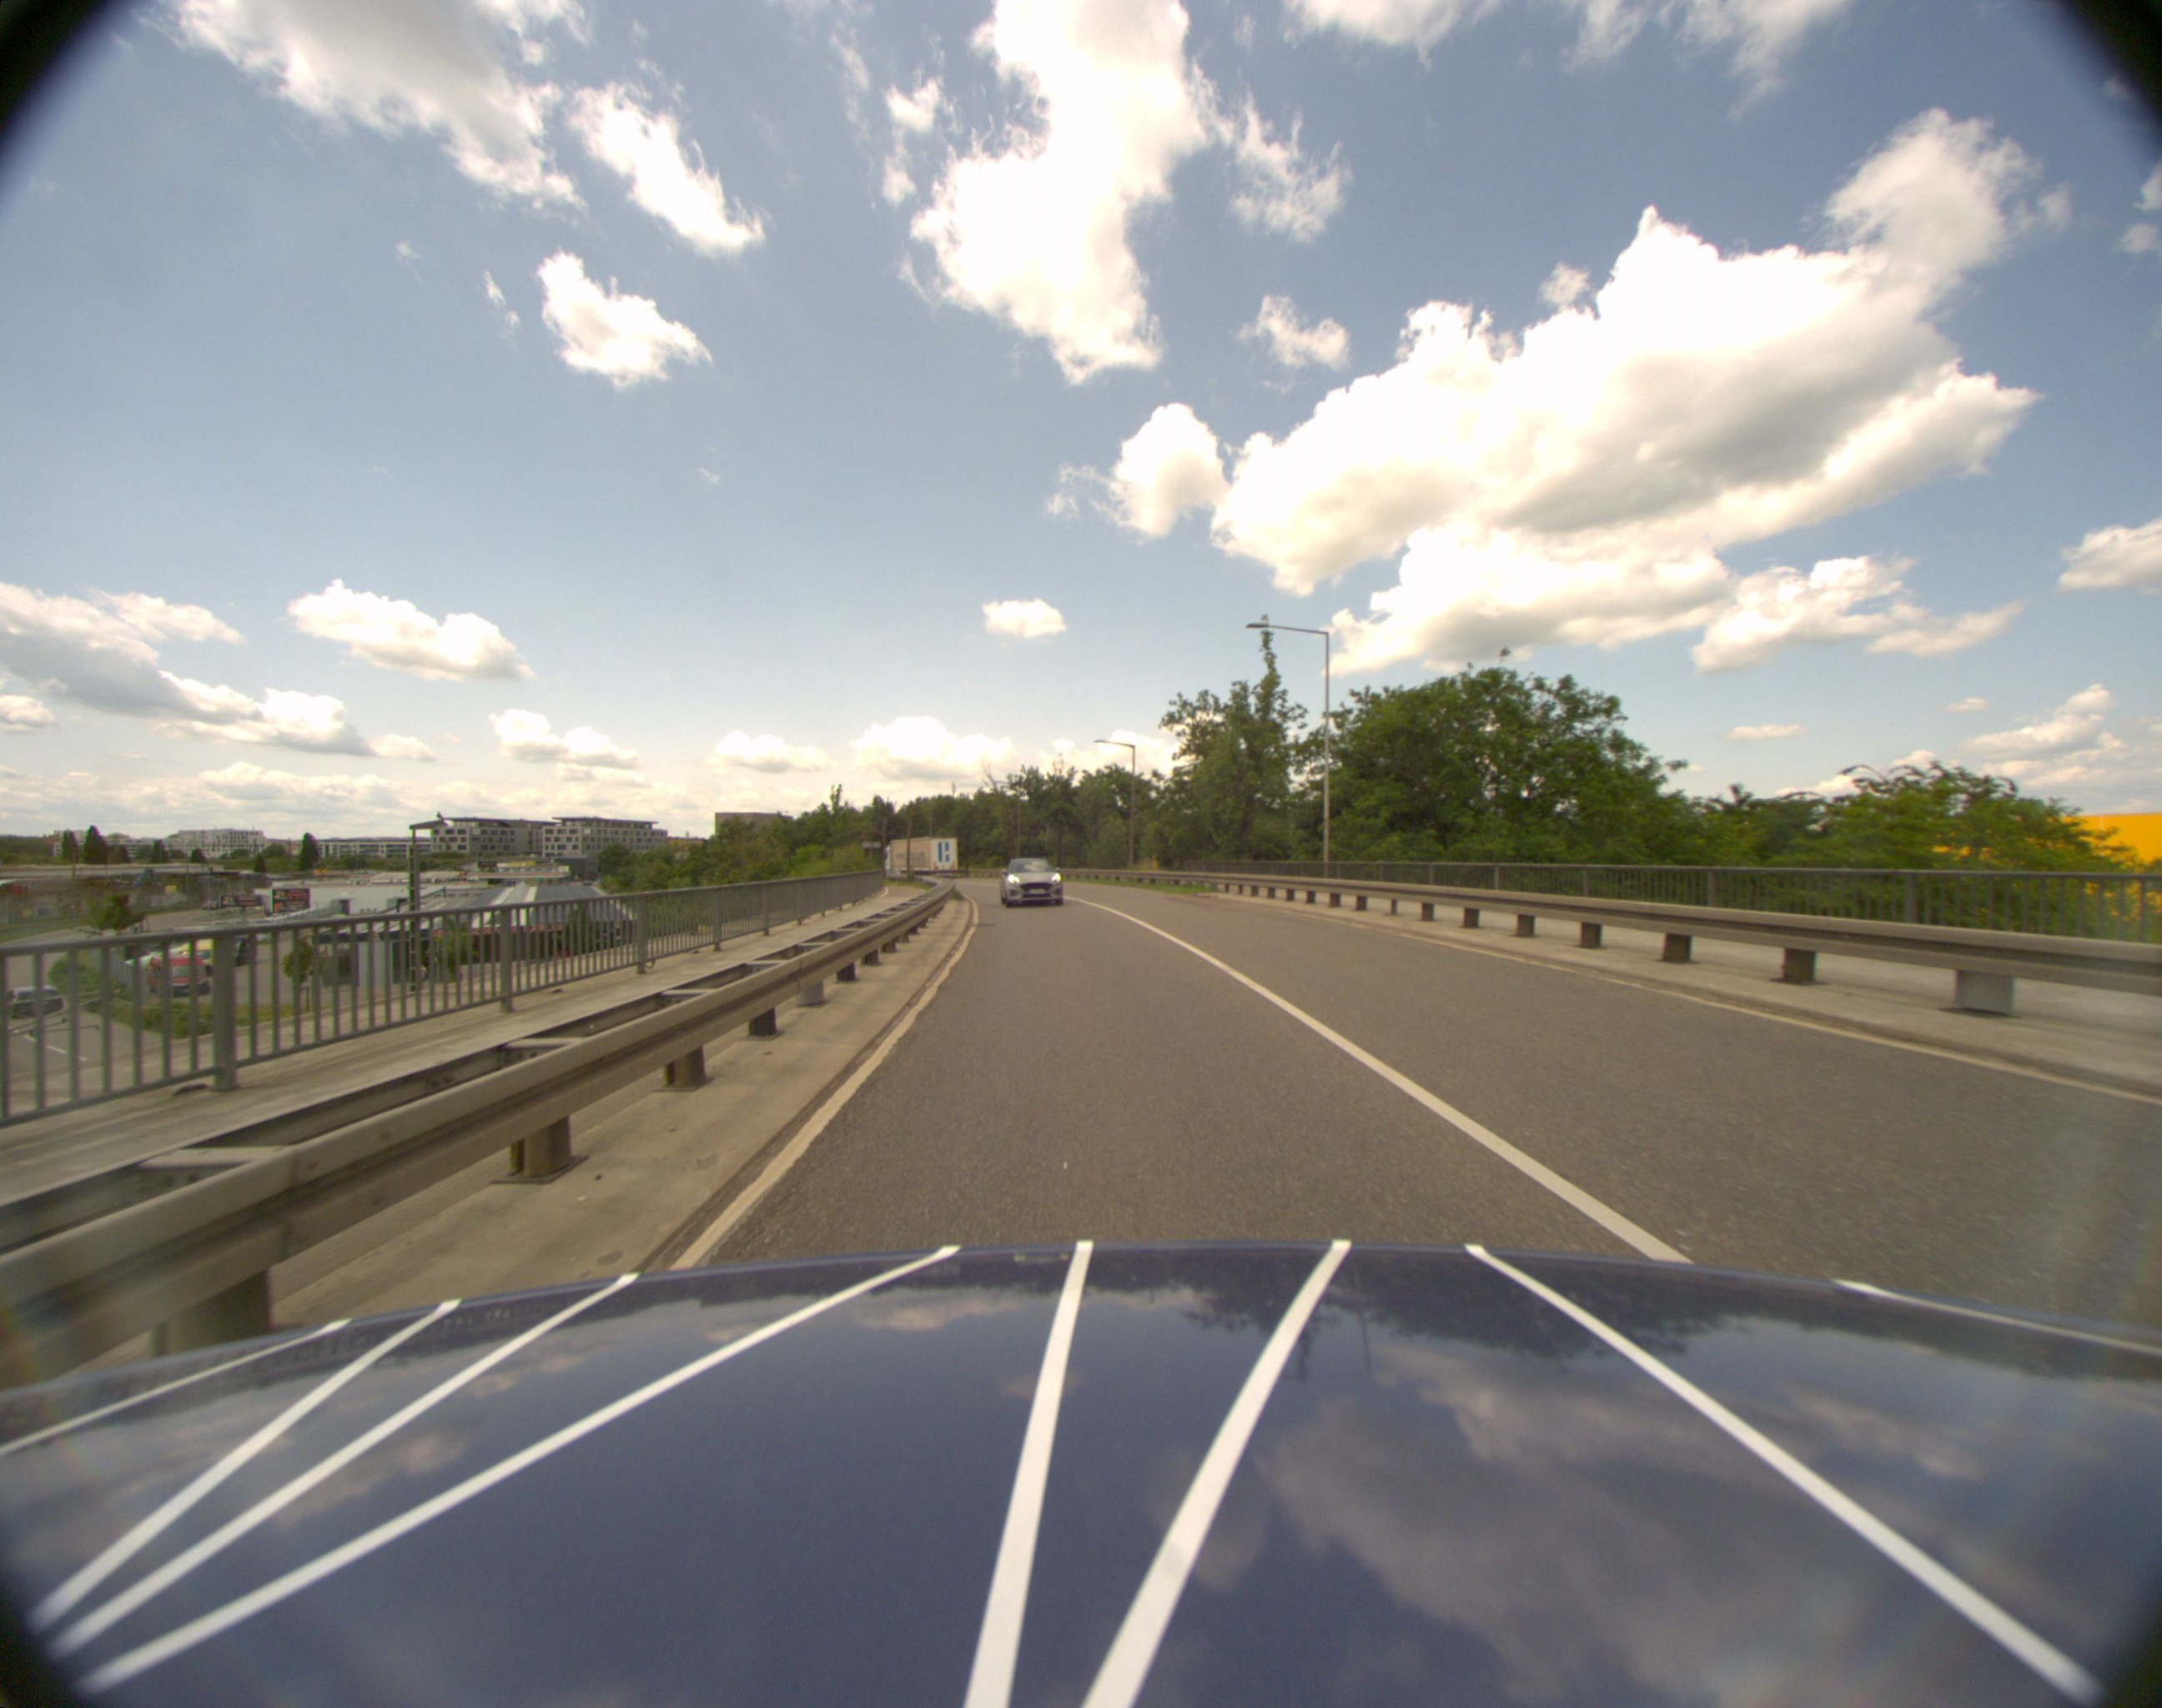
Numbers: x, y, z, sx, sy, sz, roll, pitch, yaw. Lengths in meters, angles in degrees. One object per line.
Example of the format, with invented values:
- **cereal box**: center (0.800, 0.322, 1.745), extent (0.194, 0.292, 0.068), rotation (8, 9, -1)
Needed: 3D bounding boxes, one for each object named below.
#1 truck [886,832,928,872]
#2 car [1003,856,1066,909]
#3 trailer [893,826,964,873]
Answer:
- **truck**: center (-18.924, -0.176, 82.596), extent (2.774, 4.111, 5.640), rotation (-3, 1, -29)
- **car**: center (-1.611, 0.878, 25.109), extent (1.828, 1.516, 3.998), rotation (-3, 0, -6)
- **trailer**: center (-15.650, -0.353, 76.669), extent (2.719, 4.255, 14.200), rotation (-3, 1, -29)
